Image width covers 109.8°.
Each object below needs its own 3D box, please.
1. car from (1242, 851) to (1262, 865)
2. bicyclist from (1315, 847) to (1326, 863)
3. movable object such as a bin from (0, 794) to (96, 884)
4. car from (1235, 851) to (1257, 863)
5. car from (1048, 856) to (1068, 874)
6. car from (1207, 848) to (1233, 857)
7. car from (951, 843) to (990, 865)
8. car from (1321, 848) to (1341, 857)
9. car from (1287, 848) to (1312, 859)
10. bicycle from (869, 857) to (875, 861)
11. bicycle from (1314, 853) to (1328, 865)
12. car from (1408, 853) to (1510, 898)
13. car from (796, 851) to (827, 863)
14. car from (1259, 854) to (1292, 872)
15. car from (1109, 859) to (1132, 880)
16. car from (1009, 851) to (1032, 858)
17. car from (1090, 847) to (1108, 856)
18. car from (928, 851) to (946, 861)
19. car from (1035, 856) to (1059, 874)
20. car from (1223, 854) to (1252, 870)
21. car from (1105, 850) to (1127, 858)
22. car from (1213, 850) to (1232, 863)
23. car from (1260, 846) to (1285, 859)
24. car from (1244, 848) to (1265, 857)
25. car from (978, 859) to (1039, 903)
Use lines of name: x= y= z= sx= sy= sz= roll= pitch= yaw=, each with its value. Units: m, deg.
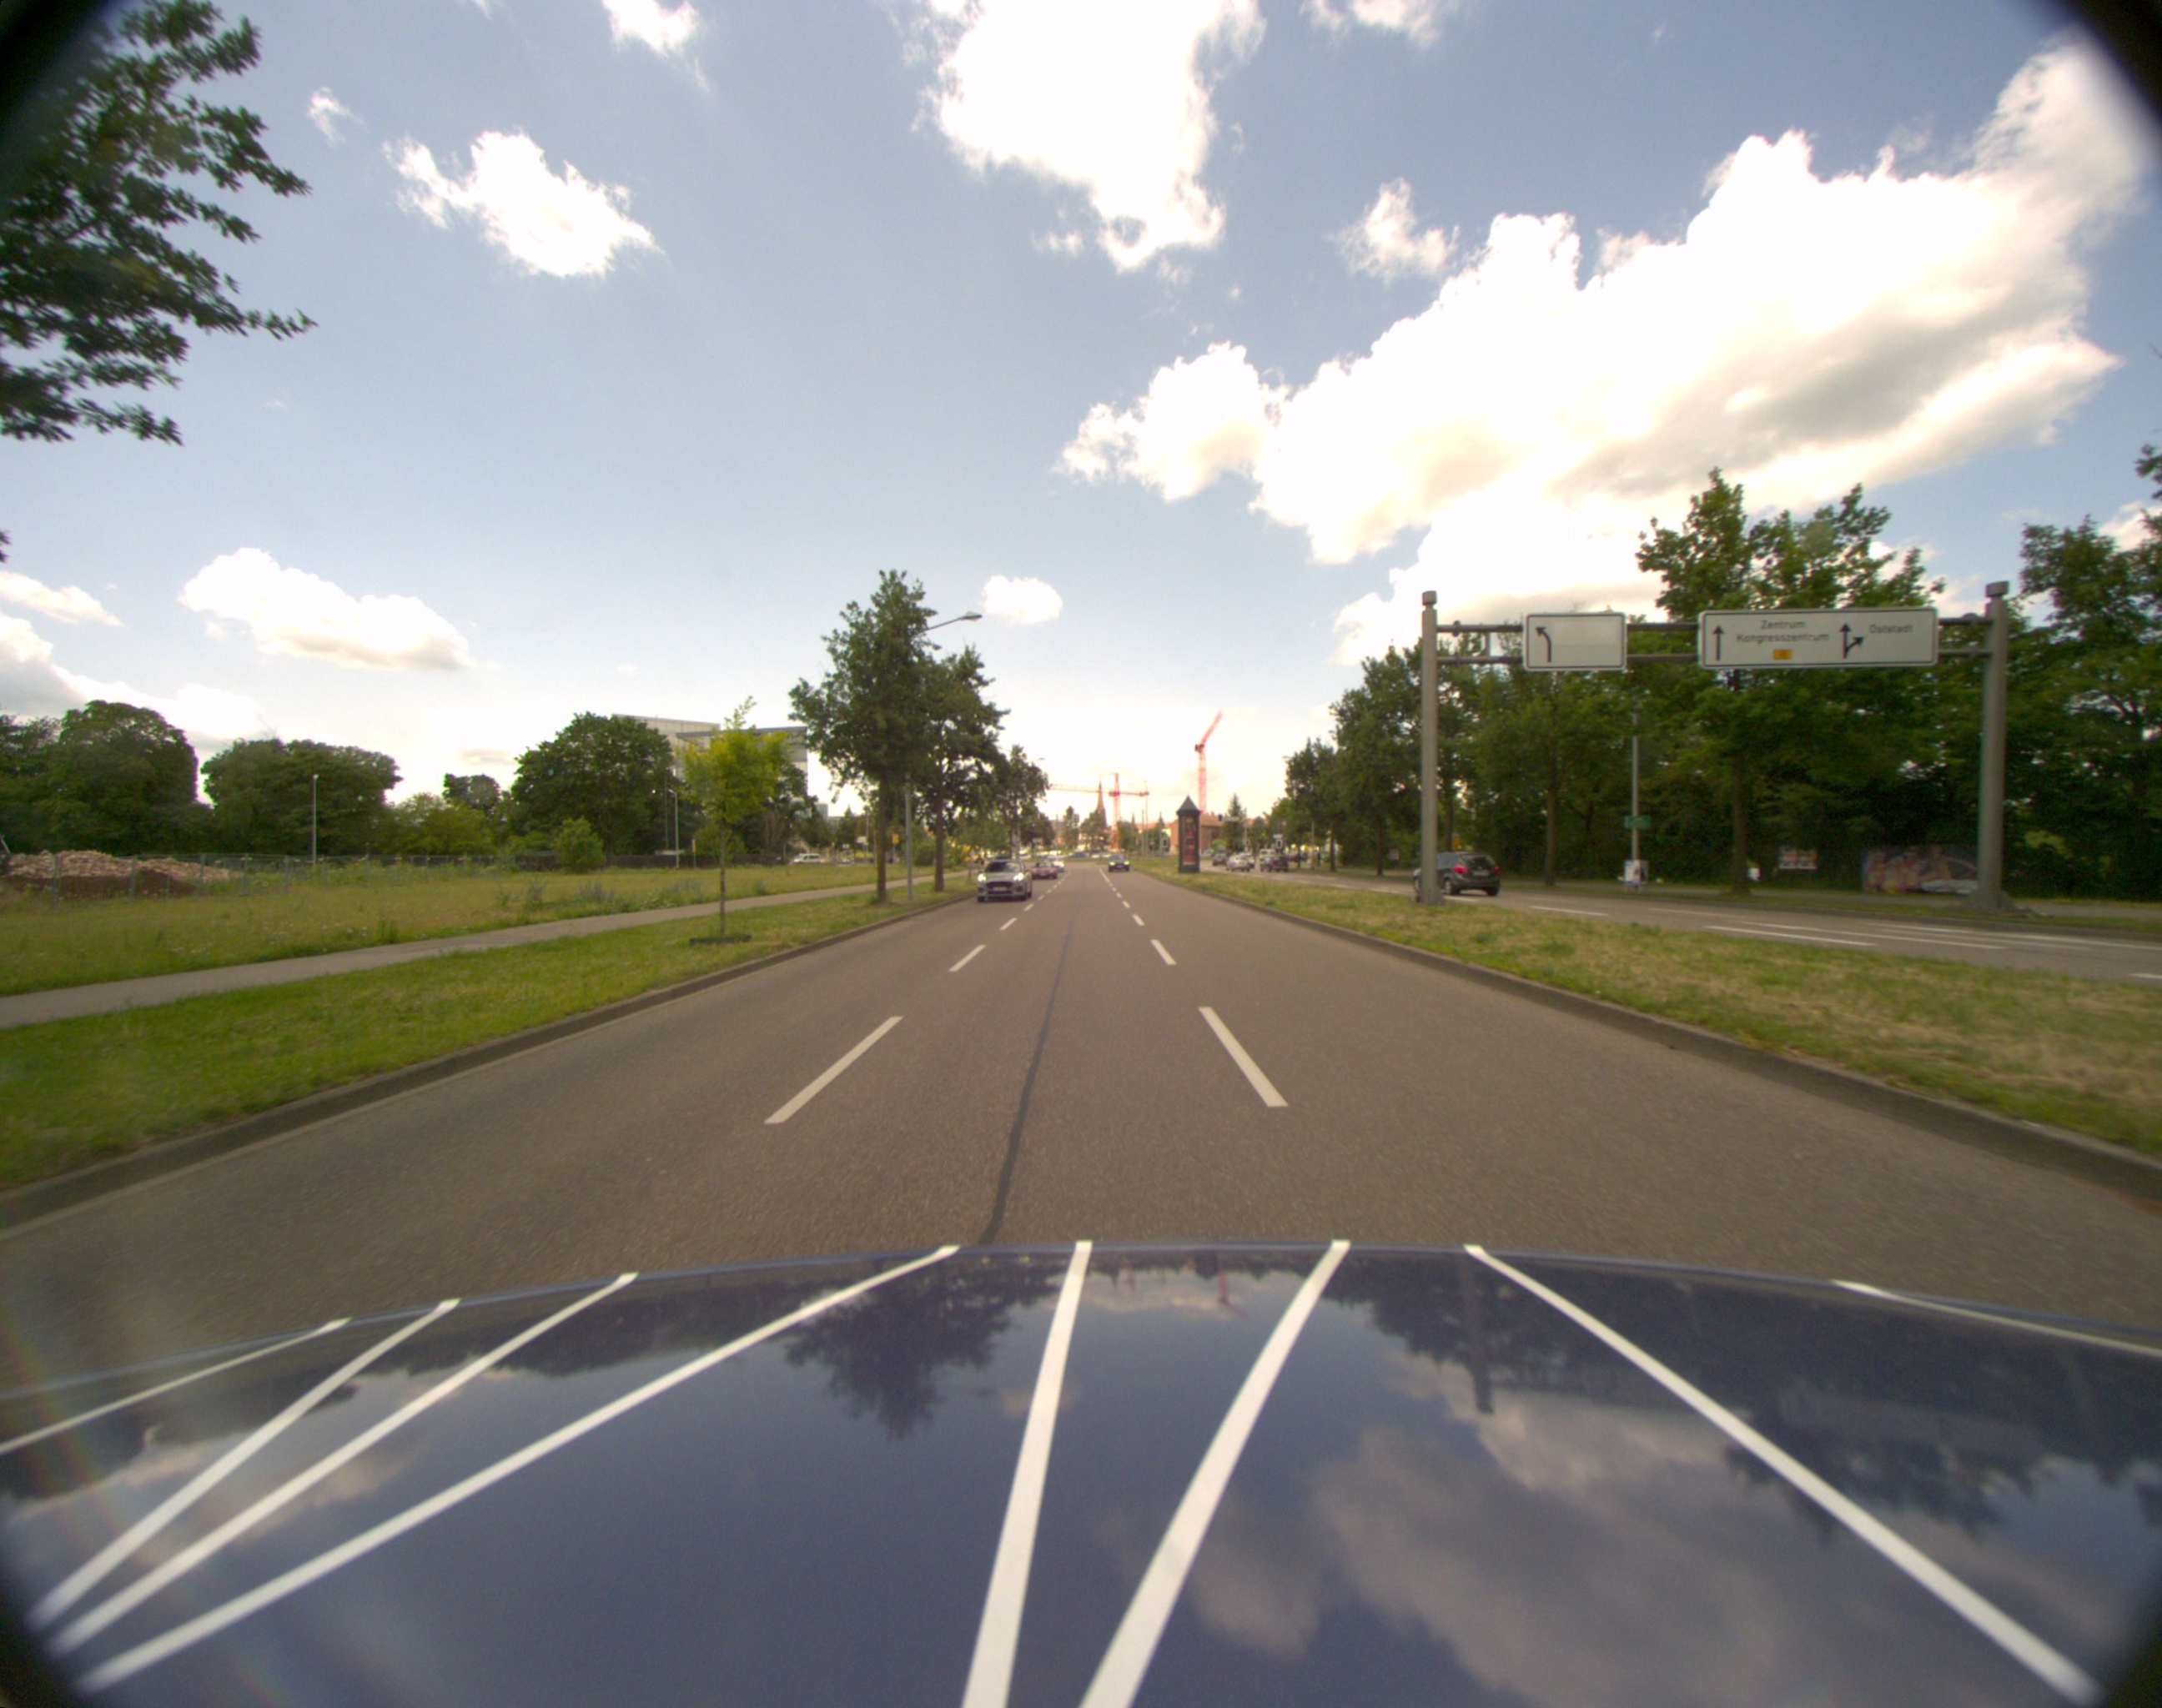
car: x=18.780 y=0.439 z=83.287 sx=1.912 sy=1.532 sz=4.373 roll=0 pitch=0 yaw=15
bicyclist: x=24.520 y=0.106 z=77.819 sx=0.832 sy=1.556 sz=0.883 roll=-3 pitch=1 yaw=1
movable object such as a bin: x=-48.138 y=-0.526 z=32.000 sx=3.040 sy=3.831 sz=7.630 roll=0 pitch=3 yaw=44
car: x=22.229 y=0.363 z=102.130 sx=1.839 sy=1.471 sz=4.761 roll=1 pitch=1 yaw=25
car: x=-2.291 y=1.055 z=75.895 sx=1.674 sy=1.589 sz=4.125 roll=-3 pitch=1 yaw=-6
car: x=27.033 y=-0.311 z=147.582 sx=4.578 sy=1.583 sz=1.918 roll=0 pitch=1 yaw=39
car: x=-16.005 y=-0.024 z=109.845 sx=2.289 sy=2.838 sz=7.236 roll=-7 pitch=4 yaw=-35
car: x=38.017 y=-0.256 z=115.433 sx=1.616 sy=1.340 sz=4.180 roll=2 pitch=1 yaw=38
car: x=30.195 y=-0.095 z=104.886 sx=1.838 sy=1.435 sz=4.428 roll=2 pitch=1 yaw=35
bicycle: x=-42.469 y=0.981 z=154.392 sx=1.469 sy=0.821 sz=0.359 roll=-1 pitch=1 yaw=44
bicycle: x=24.524 y=0.524 z=77.768 sx=0.763 sy=1.212 sz=2.016 roll=-3 pitch=1 yaw=1
car: x=14.047 y=0.742 z=28.524 sx=1.745 sy=1.560 sz=4.276 roll=1 pitch=0 yaw=1
car: x=-50.758 y=0.544 z=143.160 sx=2.143 sy=2.135 sz=5.161 roll=-1 pitch=1 yaw=30
car: x=17.700 y=0.760 z=69.362 sx=1.767 sy=1.568 sz=5.031 roll=0 pitch=0 yaw=0
car: x=3.567 y=1.363 z=69.441 sx=1.774 sy=1.590 sz=4.125 roll=-2 pitch=2 yaw=-1
car: x=-12.052 y=0.160 z=151.326 sx=4.320 sy=1.322 sz=1.994 roll=-1 pitch=0 yaw=-43
car: x=4.540 y=-0.736 z=194.612 sx=2.396 sy=2.184 sz=6.828 roll=-1 pitch=0 yaw=-17
car: x=-24.464 y=0.321 z=128.761 sx=2.002 sy=1.665 sz=5.061 roll=-1 pitch=0 yaw=-22
car: x=-2.474 y=0.773 z=55.984 sx=1.674 sy=1.254 sz=4.091 roll=0 pitch=0 yaw=-1
car: x=14.208 y=0.710 z=69.239 sx=1.767 sy=1.431 sz=4.309 roll=0 pitch=0 yaw=1
car: x=7.458 y=0.046 z=159.867 sx=4.502 sy=1.513 sz=2.125 roll=-1 pitch=0 yaw=4
car: x=16.903 y=0.291 z=90.715 sx=1.724 sy=1.581 sz=5.019 roll=0 pitch=0 yaw=16
car: x=27.874 y=-0.171 z=110.645 sx=1.838 sy=1.789 sz=4.798 roll=2 pitch=1 yaw=36
car: x=33.978 y=-0.230 z=148.881 sx=2.280 sy=1.677 sz=4.782 roll=-1 pitch=1 yaw=-13
car: x=-2.683 y=0.965 z=28.957 sx=1.673 sy=1.462 sz=4.093 roll=-1 pitch=0 yaw=3
